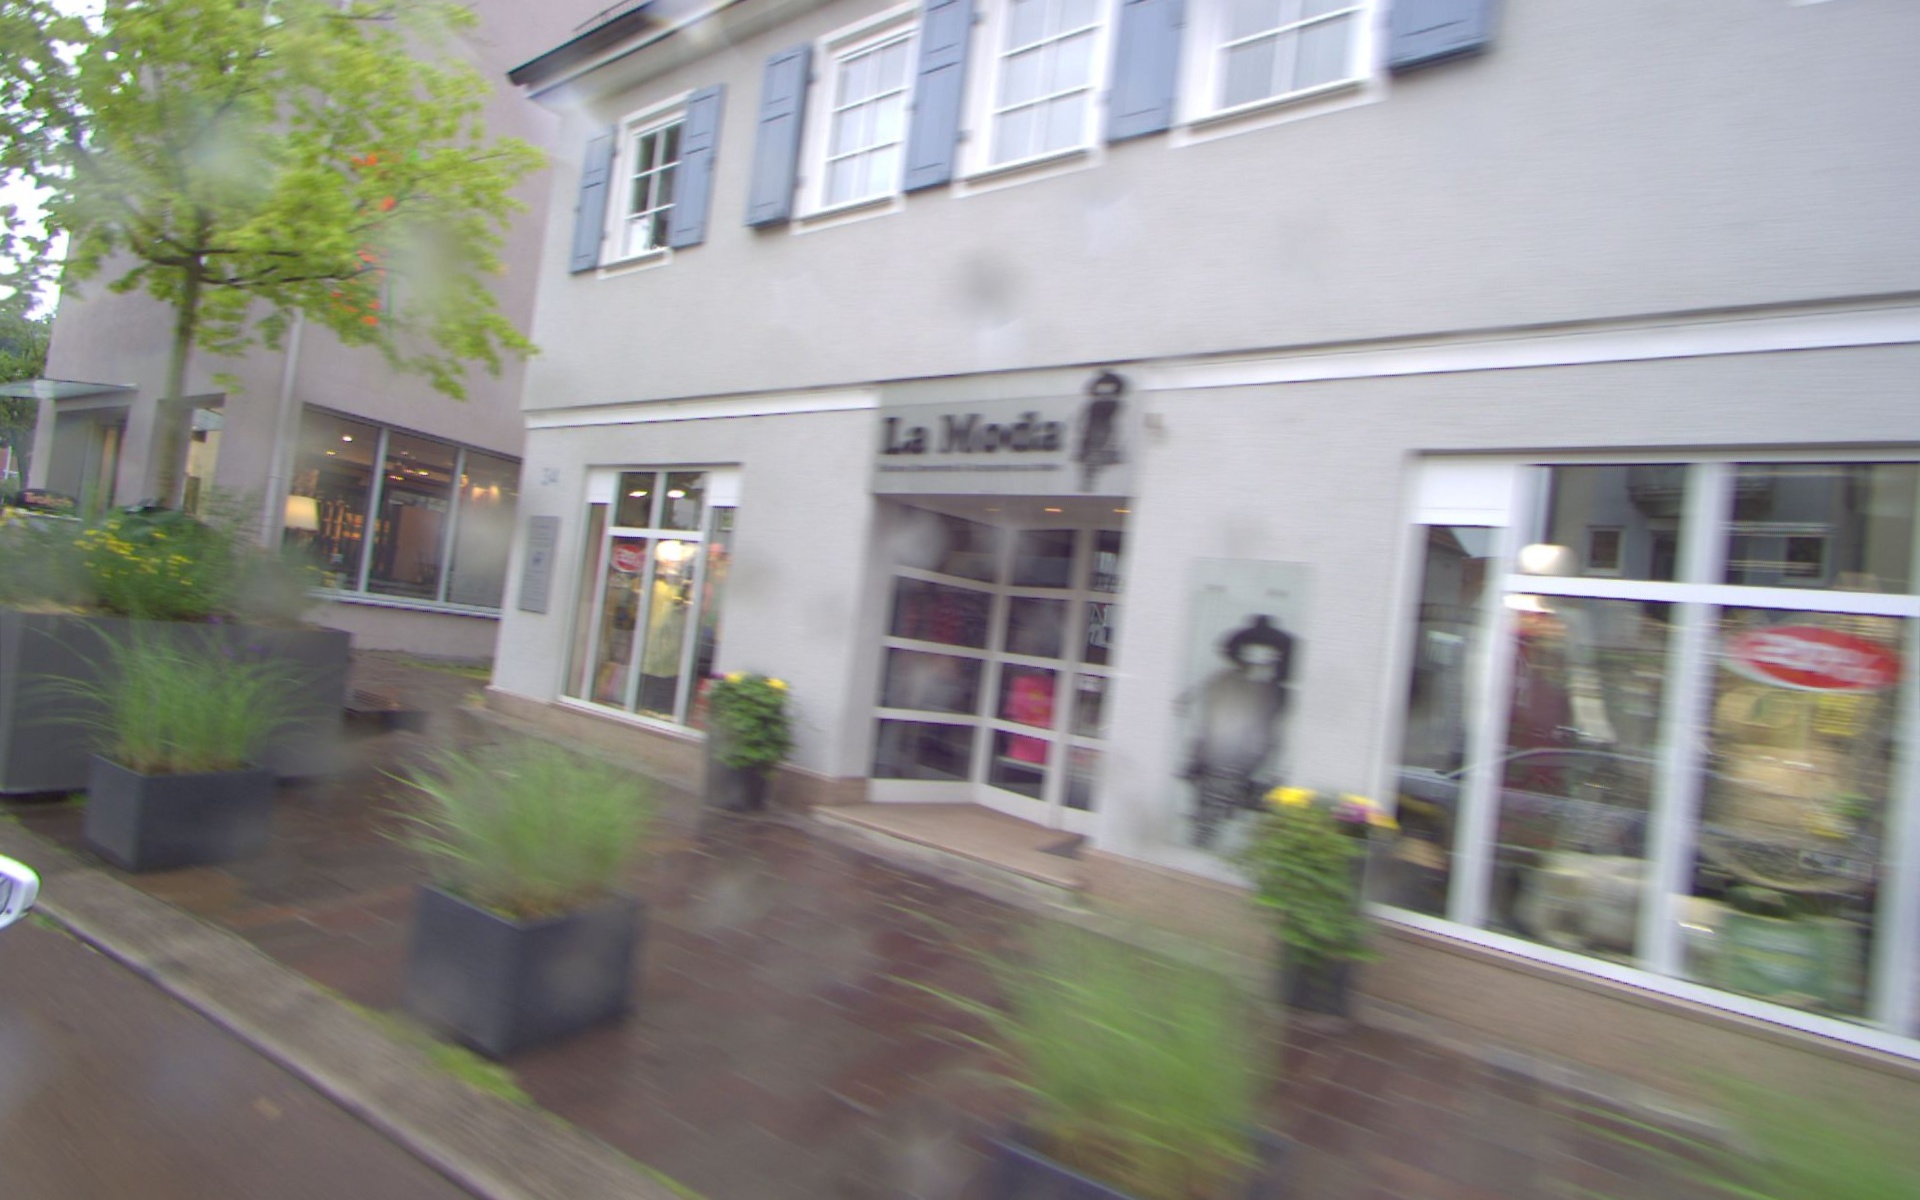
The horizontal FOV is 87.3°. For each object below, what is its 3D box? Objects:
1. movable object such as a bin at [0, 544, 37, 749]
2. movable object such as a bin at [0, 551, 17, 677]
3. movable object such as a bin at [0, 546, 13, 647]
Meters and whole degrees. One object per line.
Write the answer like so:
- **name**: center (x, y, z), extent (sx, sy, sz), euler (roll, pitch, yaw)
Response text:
- **movable object such as a bin**: center (-5.840, 0.232, 5.782), extent (0.567, 1.169, 0.544), euler (6, -2, 31)
- **movable object such as a bin**: center (-6.334, 0.210, 6.084), extent (0.552, 1.114, 0.694), euler (6, -2, 31)
- **movable object such as a bin**: center (-6.829, 0.144, 6.563), extent (0.552, 1.114, 0.730), euler (6, -2, 31)
